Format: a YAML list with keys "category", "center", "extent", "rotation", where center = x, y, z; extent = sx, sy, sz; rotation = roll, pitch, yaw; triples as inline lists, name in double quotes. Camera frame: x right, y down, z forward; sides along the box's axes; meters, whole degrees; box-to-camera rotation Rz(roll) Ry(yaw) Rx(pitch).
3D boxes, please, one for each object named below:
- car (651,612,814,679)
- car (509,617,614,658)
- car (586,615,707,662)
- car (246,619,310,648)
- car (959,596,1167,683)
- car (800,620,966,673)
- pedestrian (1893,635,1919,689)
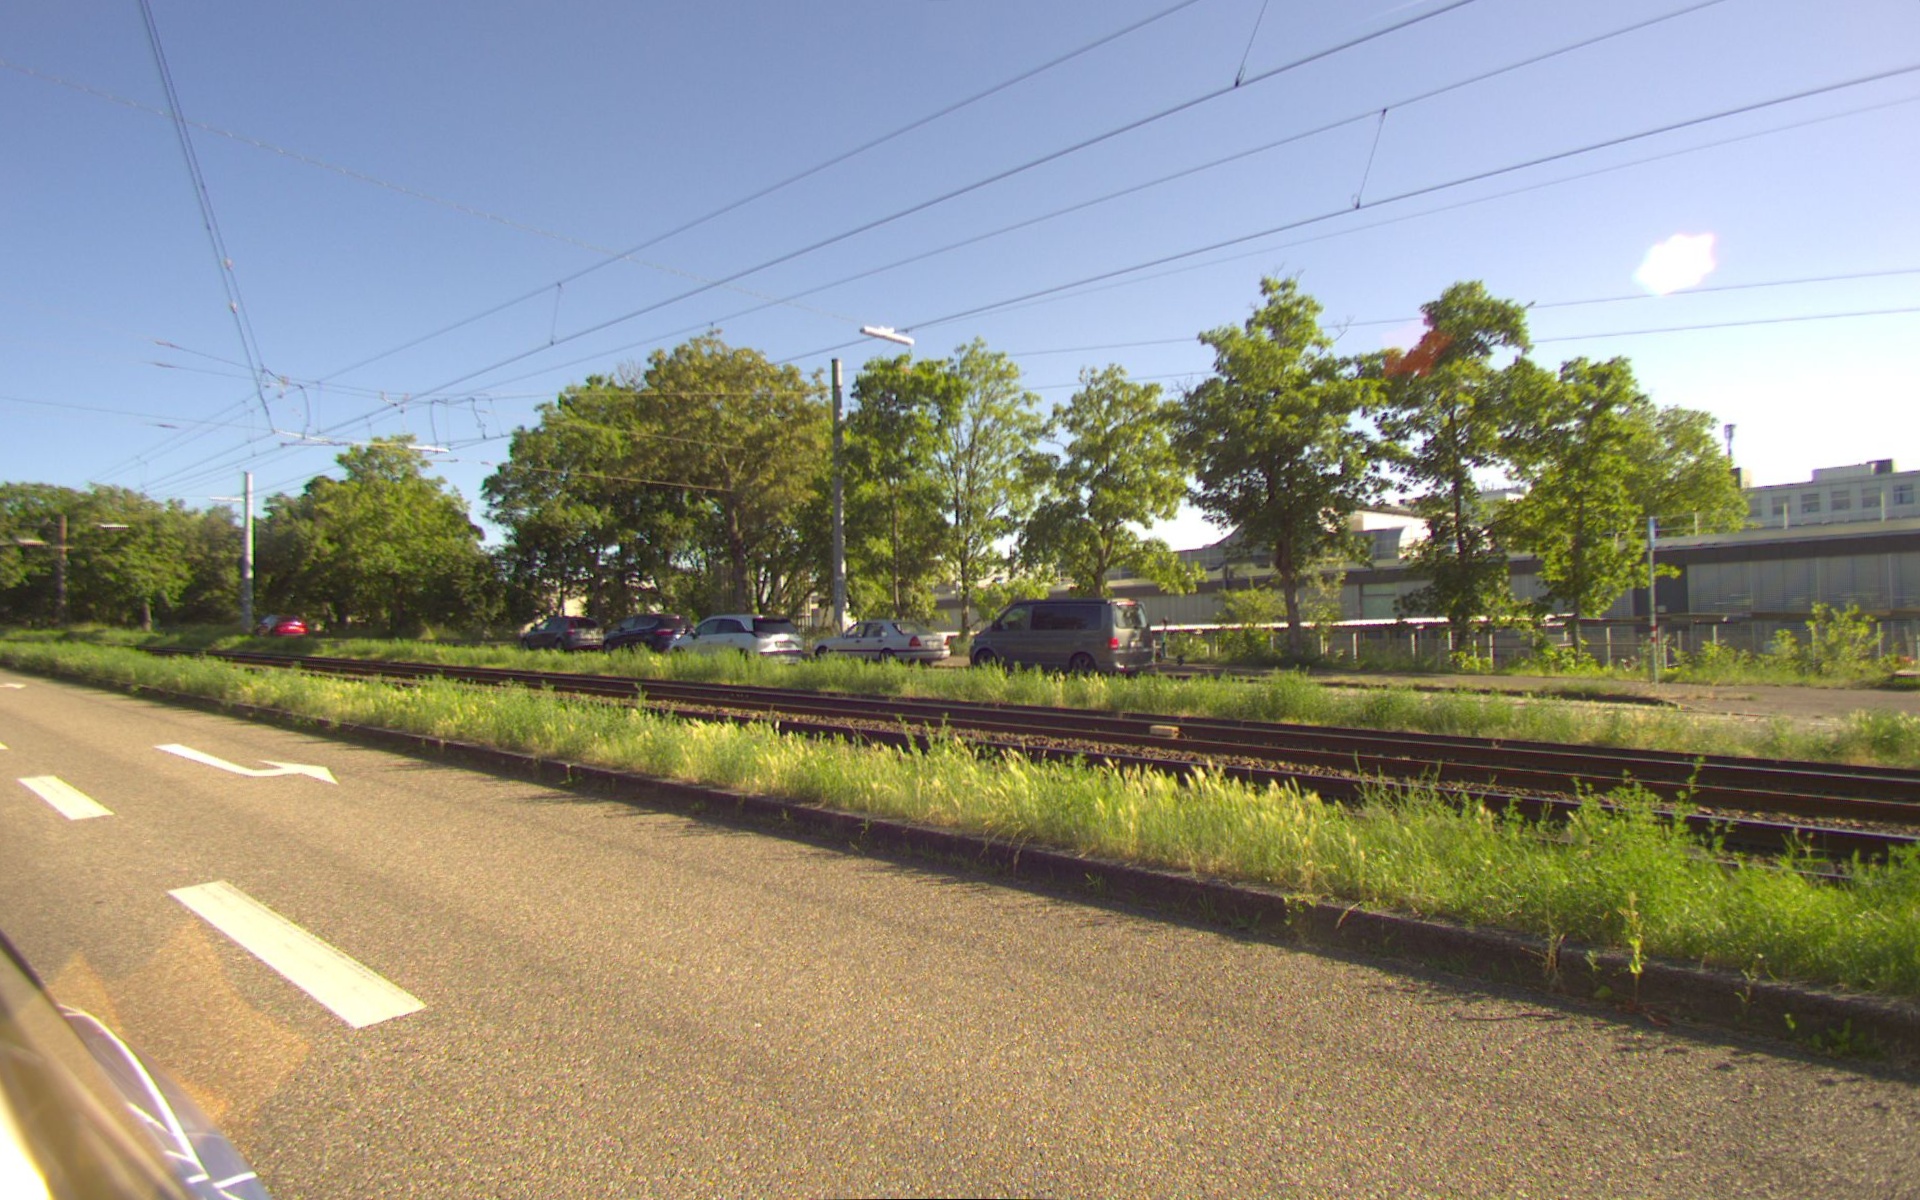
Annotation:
- category: "car"
  center: [-5.865, 1.142, 25.891]
  extent: [4.150, 1.569, 1.838]
  rotation: [-2, -1, 37]
- category: "car"
  center: [-16.275, 1.516, 41.269]
  extent: [4.557, 1.575, 2.103]
  rotation: [-2, -1, 41]
- category: "car"
  center: [-11.445, 1.386, 36.793]
  extent: [4.614, 1.599, 2.102]
  rotation: [-2, -1, 41]
- category: "car"
  center: [-42.470, 2.075, 62.995]
  extent: [4.797, 1.746, 2.290]
  rotation: [-2, -1, 43]
- category: "car"
  center: [2.452, 0.937, 24.864]
  extent: [4.684, 1.949, 2.178]
  rotation: [-2, -1, 42]
- category: "car"
  center: [-2.272, 1.307, 29.234]
  extent: [4.612, 1.391, 2.103]
  rotation: [-2, -1, 40]
- category: "pedestrian"
  center: [23.525, 1.532, 25.027]
  extent: [0.435, 1.310, 0.441]
  rotation: [-1, -2, -1]
